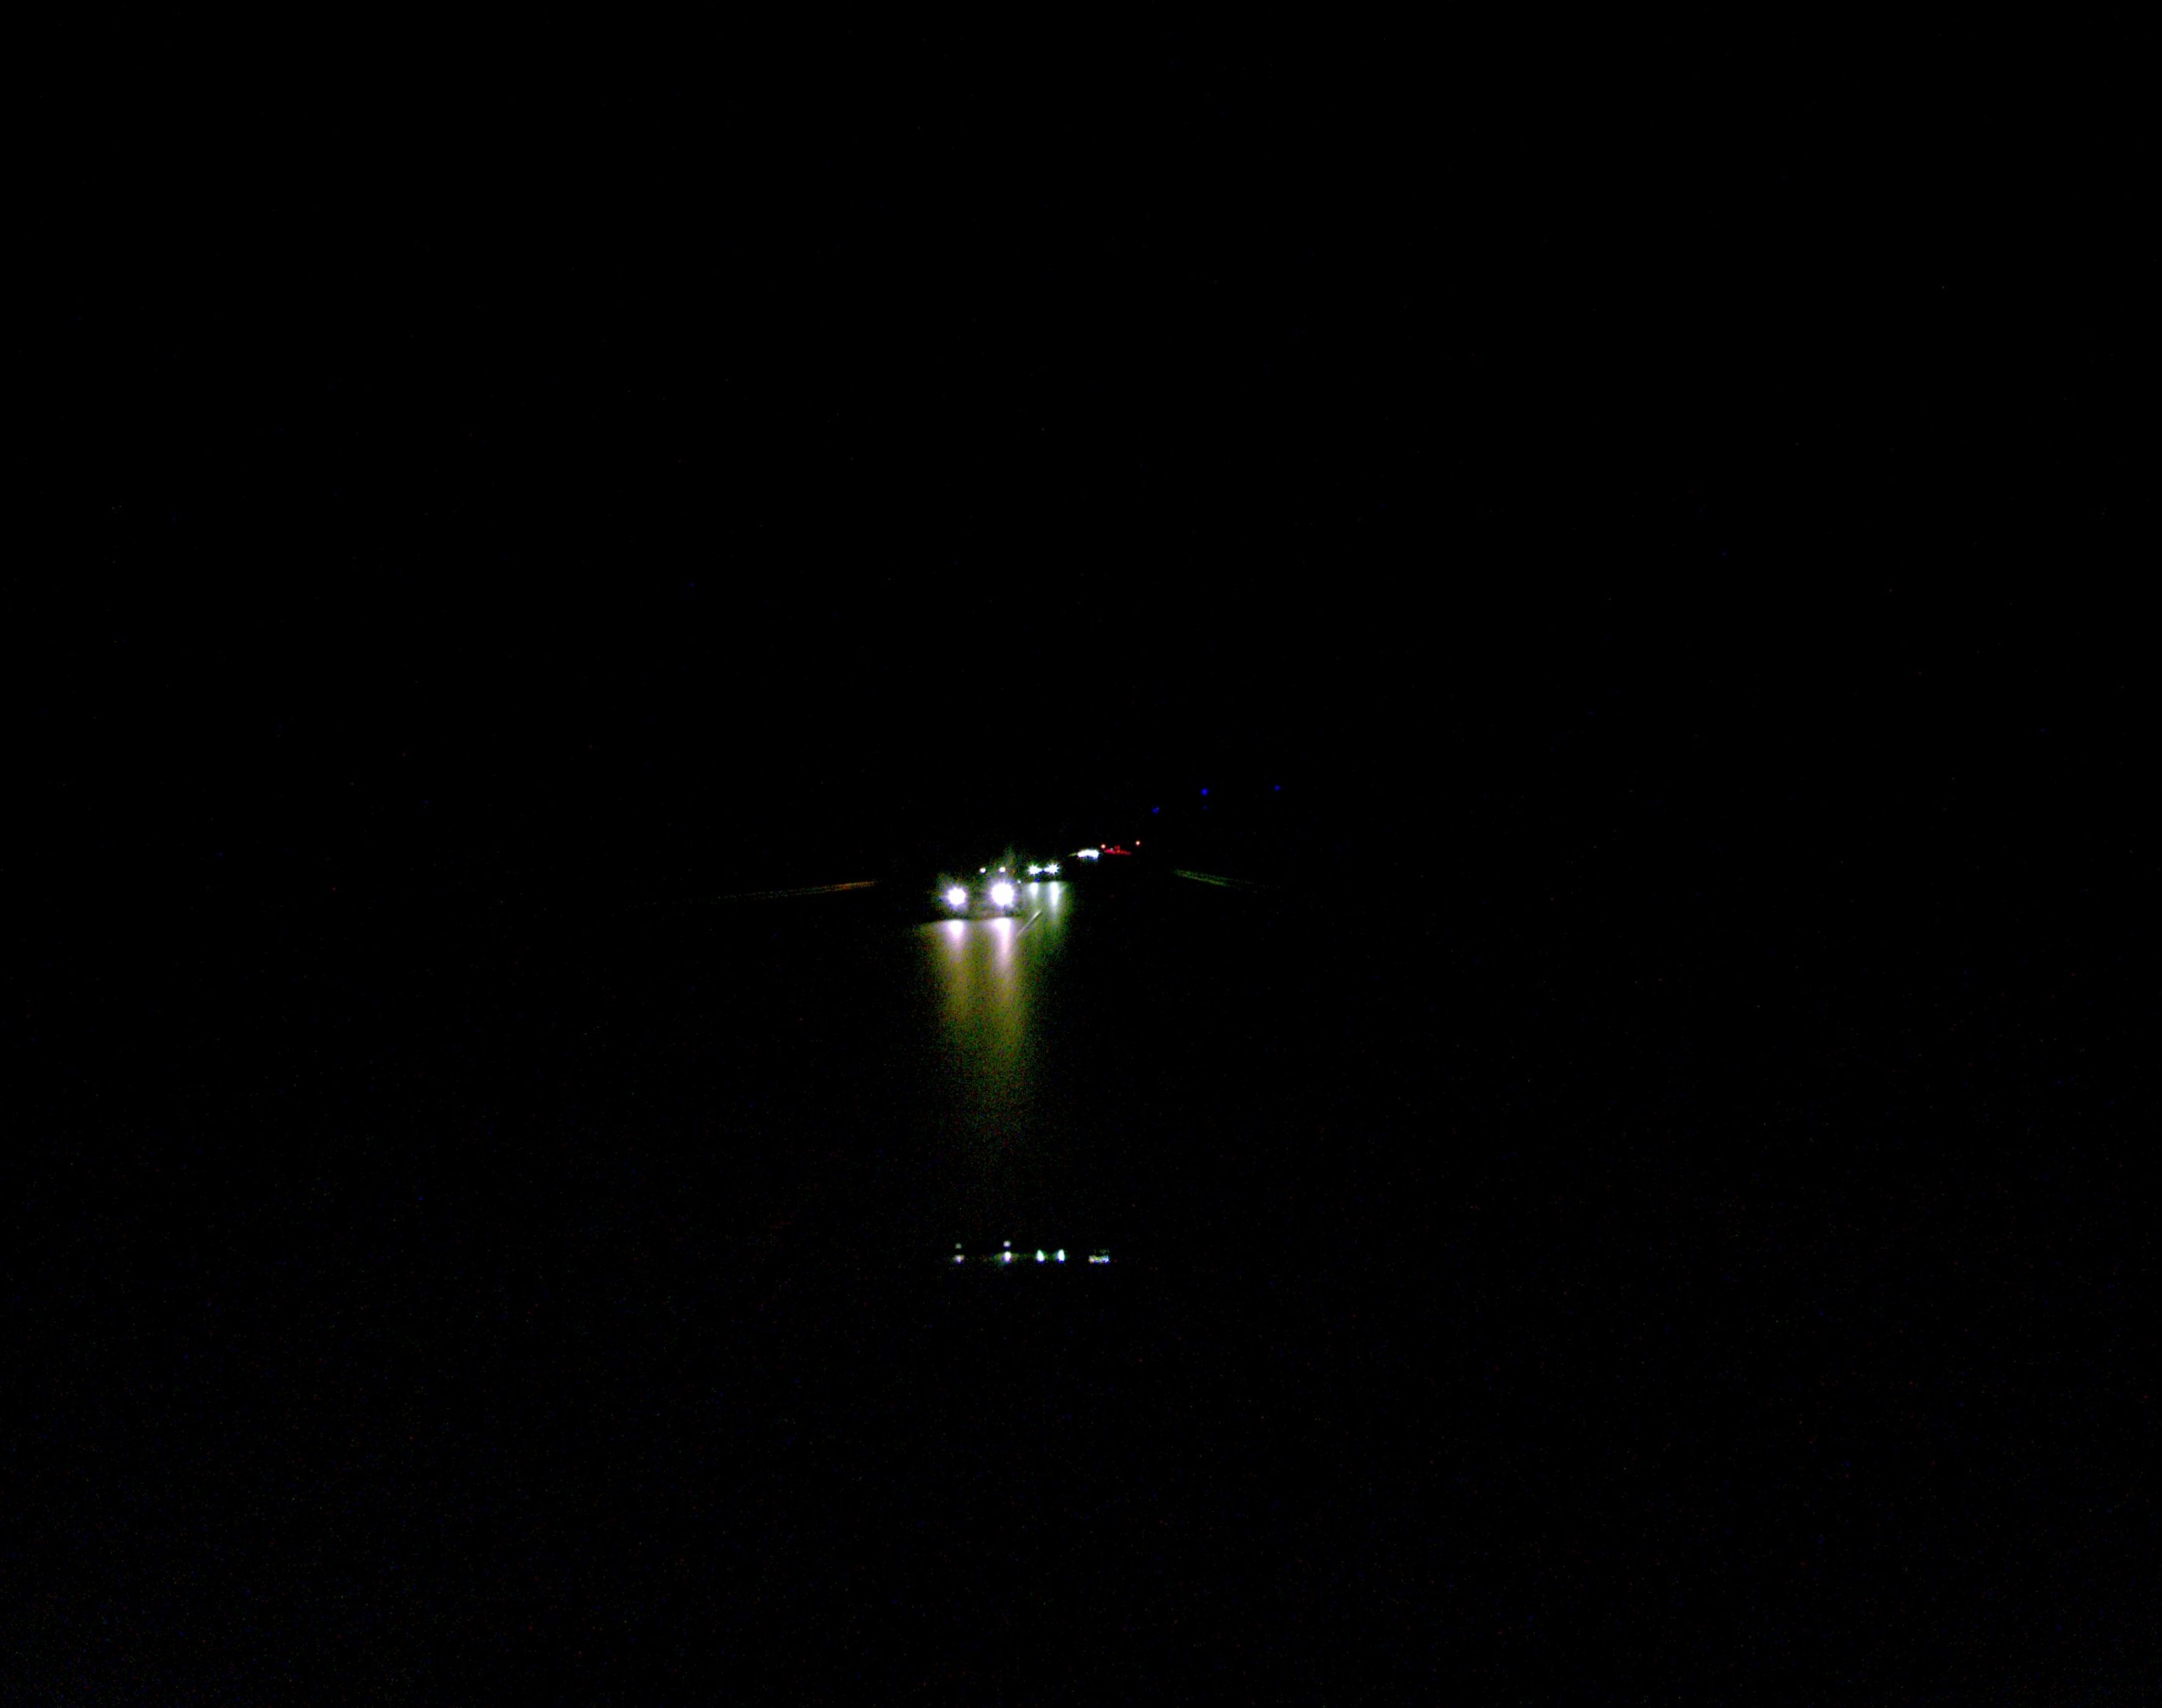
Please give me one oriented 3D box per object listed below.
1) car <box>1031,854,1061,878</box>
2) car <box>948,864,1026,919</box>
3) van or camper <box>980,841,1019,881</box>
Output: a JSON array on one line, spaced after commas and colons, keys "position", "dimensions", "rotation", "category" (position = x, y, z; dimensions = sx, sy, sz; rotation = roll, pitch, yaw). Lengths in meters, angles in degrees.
[{"position": [-2.442, 0.852, 54.144], "dimensions": [1.795, 1.532, 4.225], "rotation": [-3, 0, 1], "category": "car"}, {"position": [-2.690, 1.048, 22.616], "dimensions": [1.690, 1.405, 4.226], "rotation": [-2, -1, 1], "category": "car"}, {"position": [-6.303, 0.502, 59.481], "dimensions": [2.213, 2.755, 6.803], "rotation": [-4, 0, -1], "category": "van or camper"}]
